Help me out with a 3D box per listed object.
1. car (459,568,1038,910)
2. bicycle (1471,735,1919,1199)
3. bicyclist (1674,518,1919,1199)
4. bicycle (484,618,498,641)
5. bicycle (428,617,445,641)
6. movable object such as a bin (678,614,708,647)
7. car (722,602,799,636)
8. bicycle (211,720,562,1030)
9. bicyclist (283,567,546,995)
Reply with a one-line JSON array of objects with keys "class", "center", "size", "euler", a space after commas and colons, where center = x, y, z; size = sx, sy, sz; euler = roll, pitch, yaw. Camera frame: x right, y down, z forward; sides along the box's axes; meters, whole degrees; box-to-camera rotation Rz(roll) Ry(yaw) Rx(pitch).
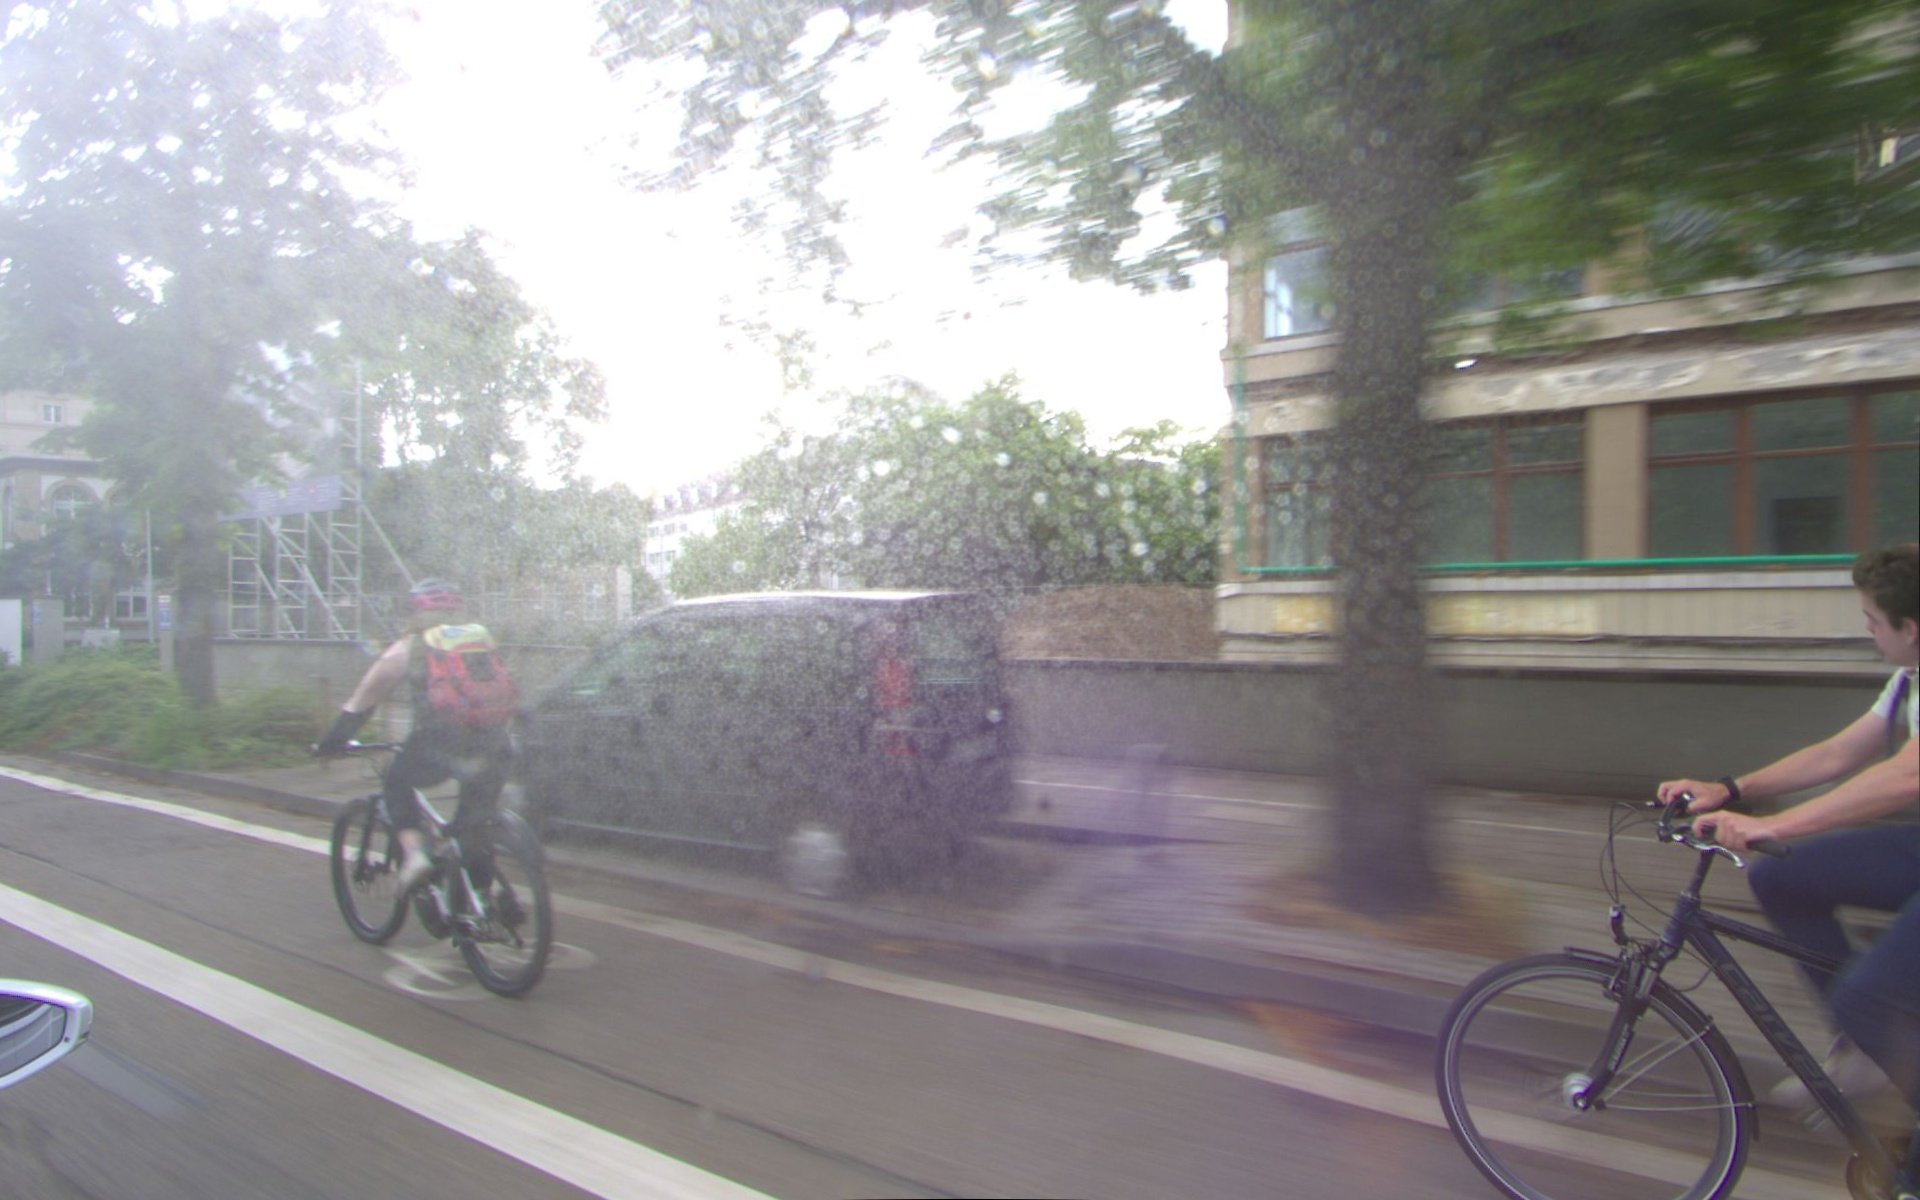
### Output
[{"class": "car", "center": [-1.602, 0.804, 7.142], "size": [4.025, 1.835, 1.651], "euler": [-1, -2, 31]}, {"class": "bicycle", "center": [2.191, 0.953, 2.216], "size": [1.839, 1.131, 0.663], "euler": [0, -2, 32]}, {"class": "bicyclist", "center": [2.206, 0.640, 2.209], "size": [0.971, 1.590, 0.661], "euler": [0, -1, 31]}, {"class": "bicycle", "center": [-23.664, 1.474, 50.488], "size": [0.609, 1.134, 2.213], "euler": [0, -1, -24]}, {"class": "bicycle", "center": [-25.706, 1.426, 49.190], "size": [0.609, 1.134, 2.213], "euler": [0, -1, -24]}, {"class": "movable object such as a bin", "center": [-12.510, 1.401, 46.907], "size": [1.040, 1.470, 1.348], "euler": [0, 1, -28]}, {"class": "car", "center": [-12.271, 1.183, 61.559], "size": [4.298, 2.039, 1.842], "euler": [1, -2, -36]}, {"class": "bicycle", "center": [-2.627, 1.110, 4.478], "size": [2.028, 0.992, 0.488], "euler": [0, -1, 33]}, {"class": "bicyclist", "center": [-2.360, 0.698, 4.341], "size": [0.907, 1.631, 0.656], "euler": [0, 0, 33]}]
